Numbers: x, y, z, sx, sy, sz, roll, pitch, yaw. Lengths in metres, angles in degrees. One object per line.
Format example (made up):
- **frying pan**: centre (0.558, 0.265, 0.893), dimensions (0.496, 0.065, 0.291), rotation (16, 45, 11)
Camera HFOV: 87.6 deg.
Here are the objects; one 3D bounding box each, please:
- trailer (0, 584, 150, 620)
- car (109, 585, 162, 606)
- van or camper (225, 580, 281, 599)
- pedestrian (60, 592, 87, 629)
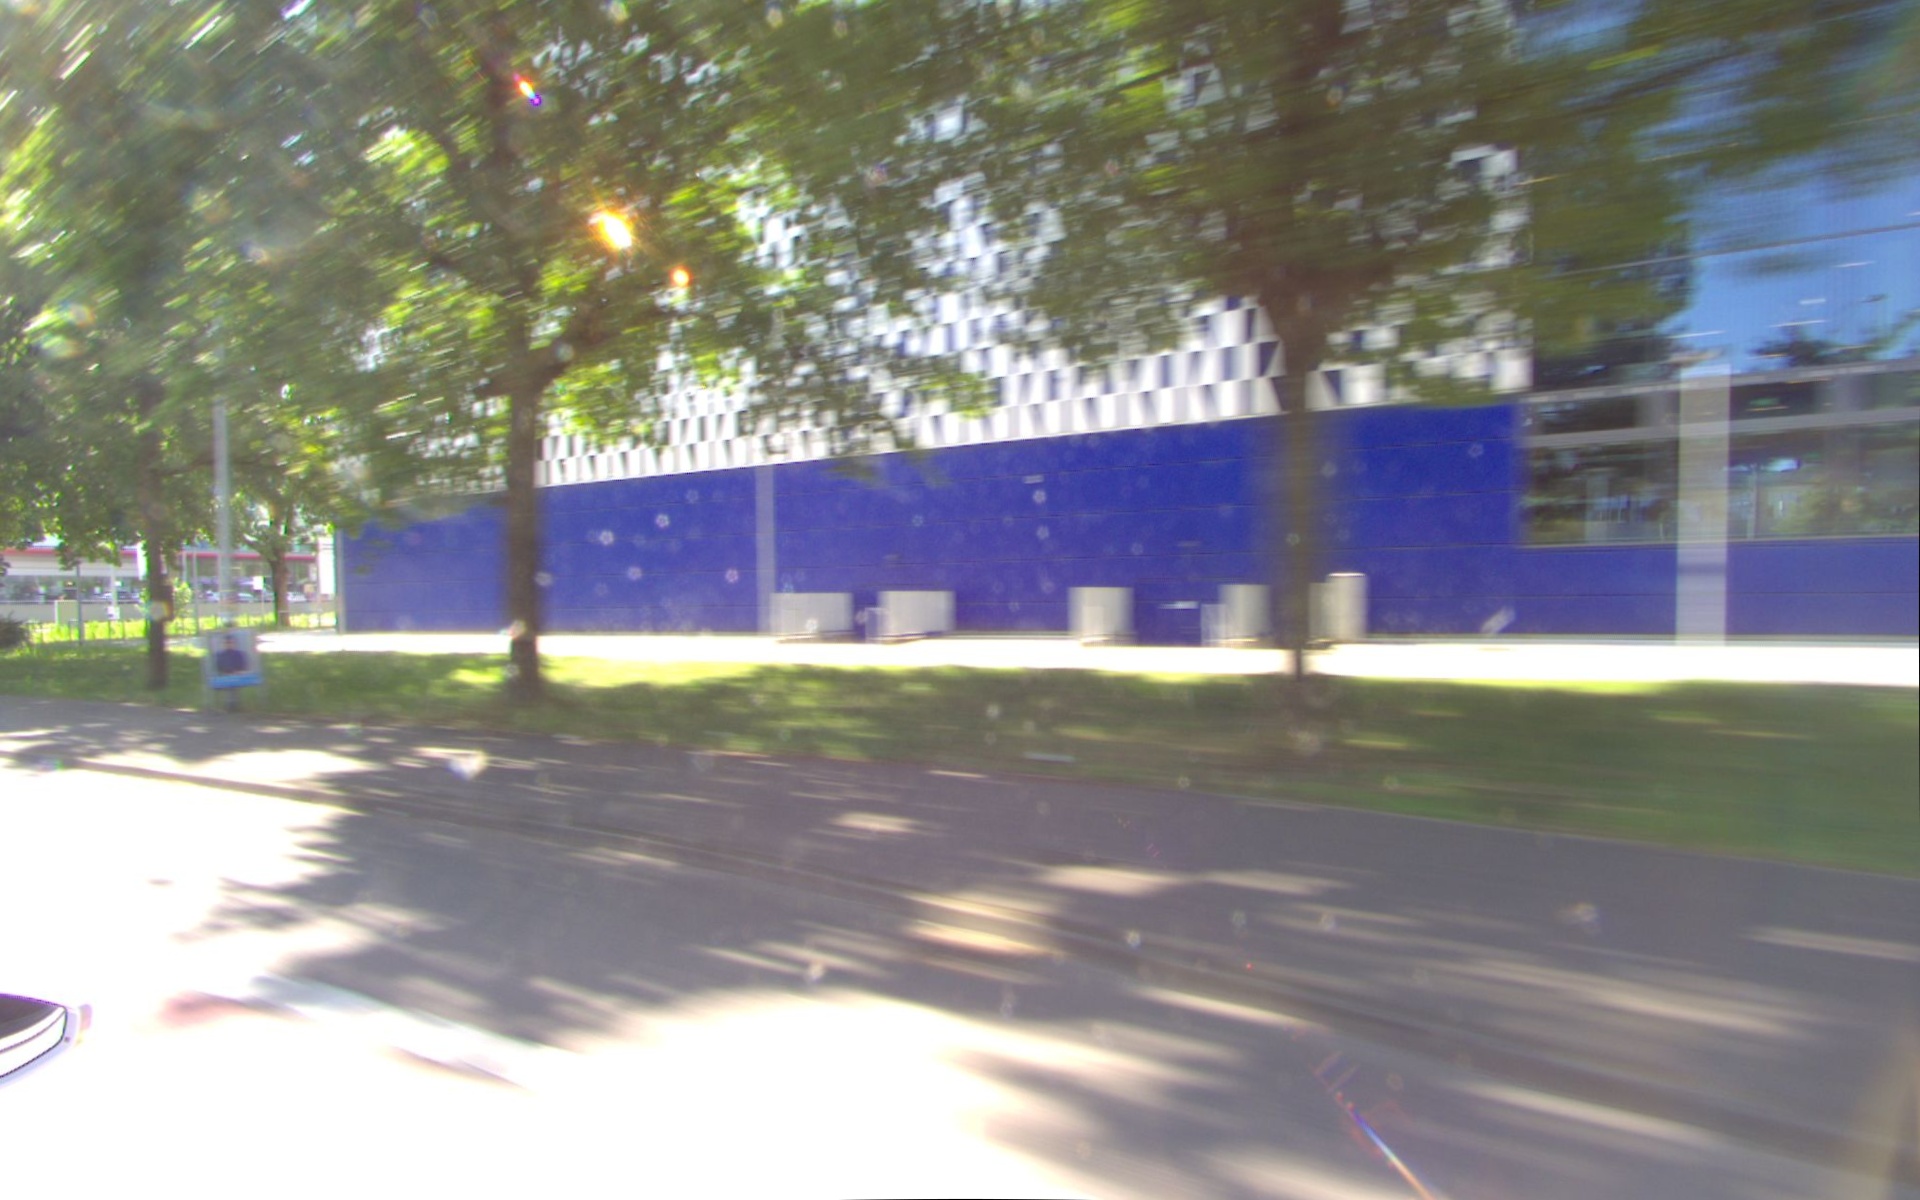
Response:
- **trailer**: centre (-70.466, 0.191, 77.657), dimensions (1.972, 2.501, 11.847), rotation (1, -1, 34)
- **car**: centre (-89.243, -0.454, 108.446), dimensions (1.968, 2.039, 3.986), rotation (1, -1, 27)
- **van or camper**: centre (-83.205, -1.209, 117.897), dimensions (1.968, 2.039, 4.982), rotation (1, -1, 28)
- **pedestrian**: centre (-43.232, 0.500, 48.822), dimensions (0.791, 1.794, 0.628), rotation (-1, 1, 18)
